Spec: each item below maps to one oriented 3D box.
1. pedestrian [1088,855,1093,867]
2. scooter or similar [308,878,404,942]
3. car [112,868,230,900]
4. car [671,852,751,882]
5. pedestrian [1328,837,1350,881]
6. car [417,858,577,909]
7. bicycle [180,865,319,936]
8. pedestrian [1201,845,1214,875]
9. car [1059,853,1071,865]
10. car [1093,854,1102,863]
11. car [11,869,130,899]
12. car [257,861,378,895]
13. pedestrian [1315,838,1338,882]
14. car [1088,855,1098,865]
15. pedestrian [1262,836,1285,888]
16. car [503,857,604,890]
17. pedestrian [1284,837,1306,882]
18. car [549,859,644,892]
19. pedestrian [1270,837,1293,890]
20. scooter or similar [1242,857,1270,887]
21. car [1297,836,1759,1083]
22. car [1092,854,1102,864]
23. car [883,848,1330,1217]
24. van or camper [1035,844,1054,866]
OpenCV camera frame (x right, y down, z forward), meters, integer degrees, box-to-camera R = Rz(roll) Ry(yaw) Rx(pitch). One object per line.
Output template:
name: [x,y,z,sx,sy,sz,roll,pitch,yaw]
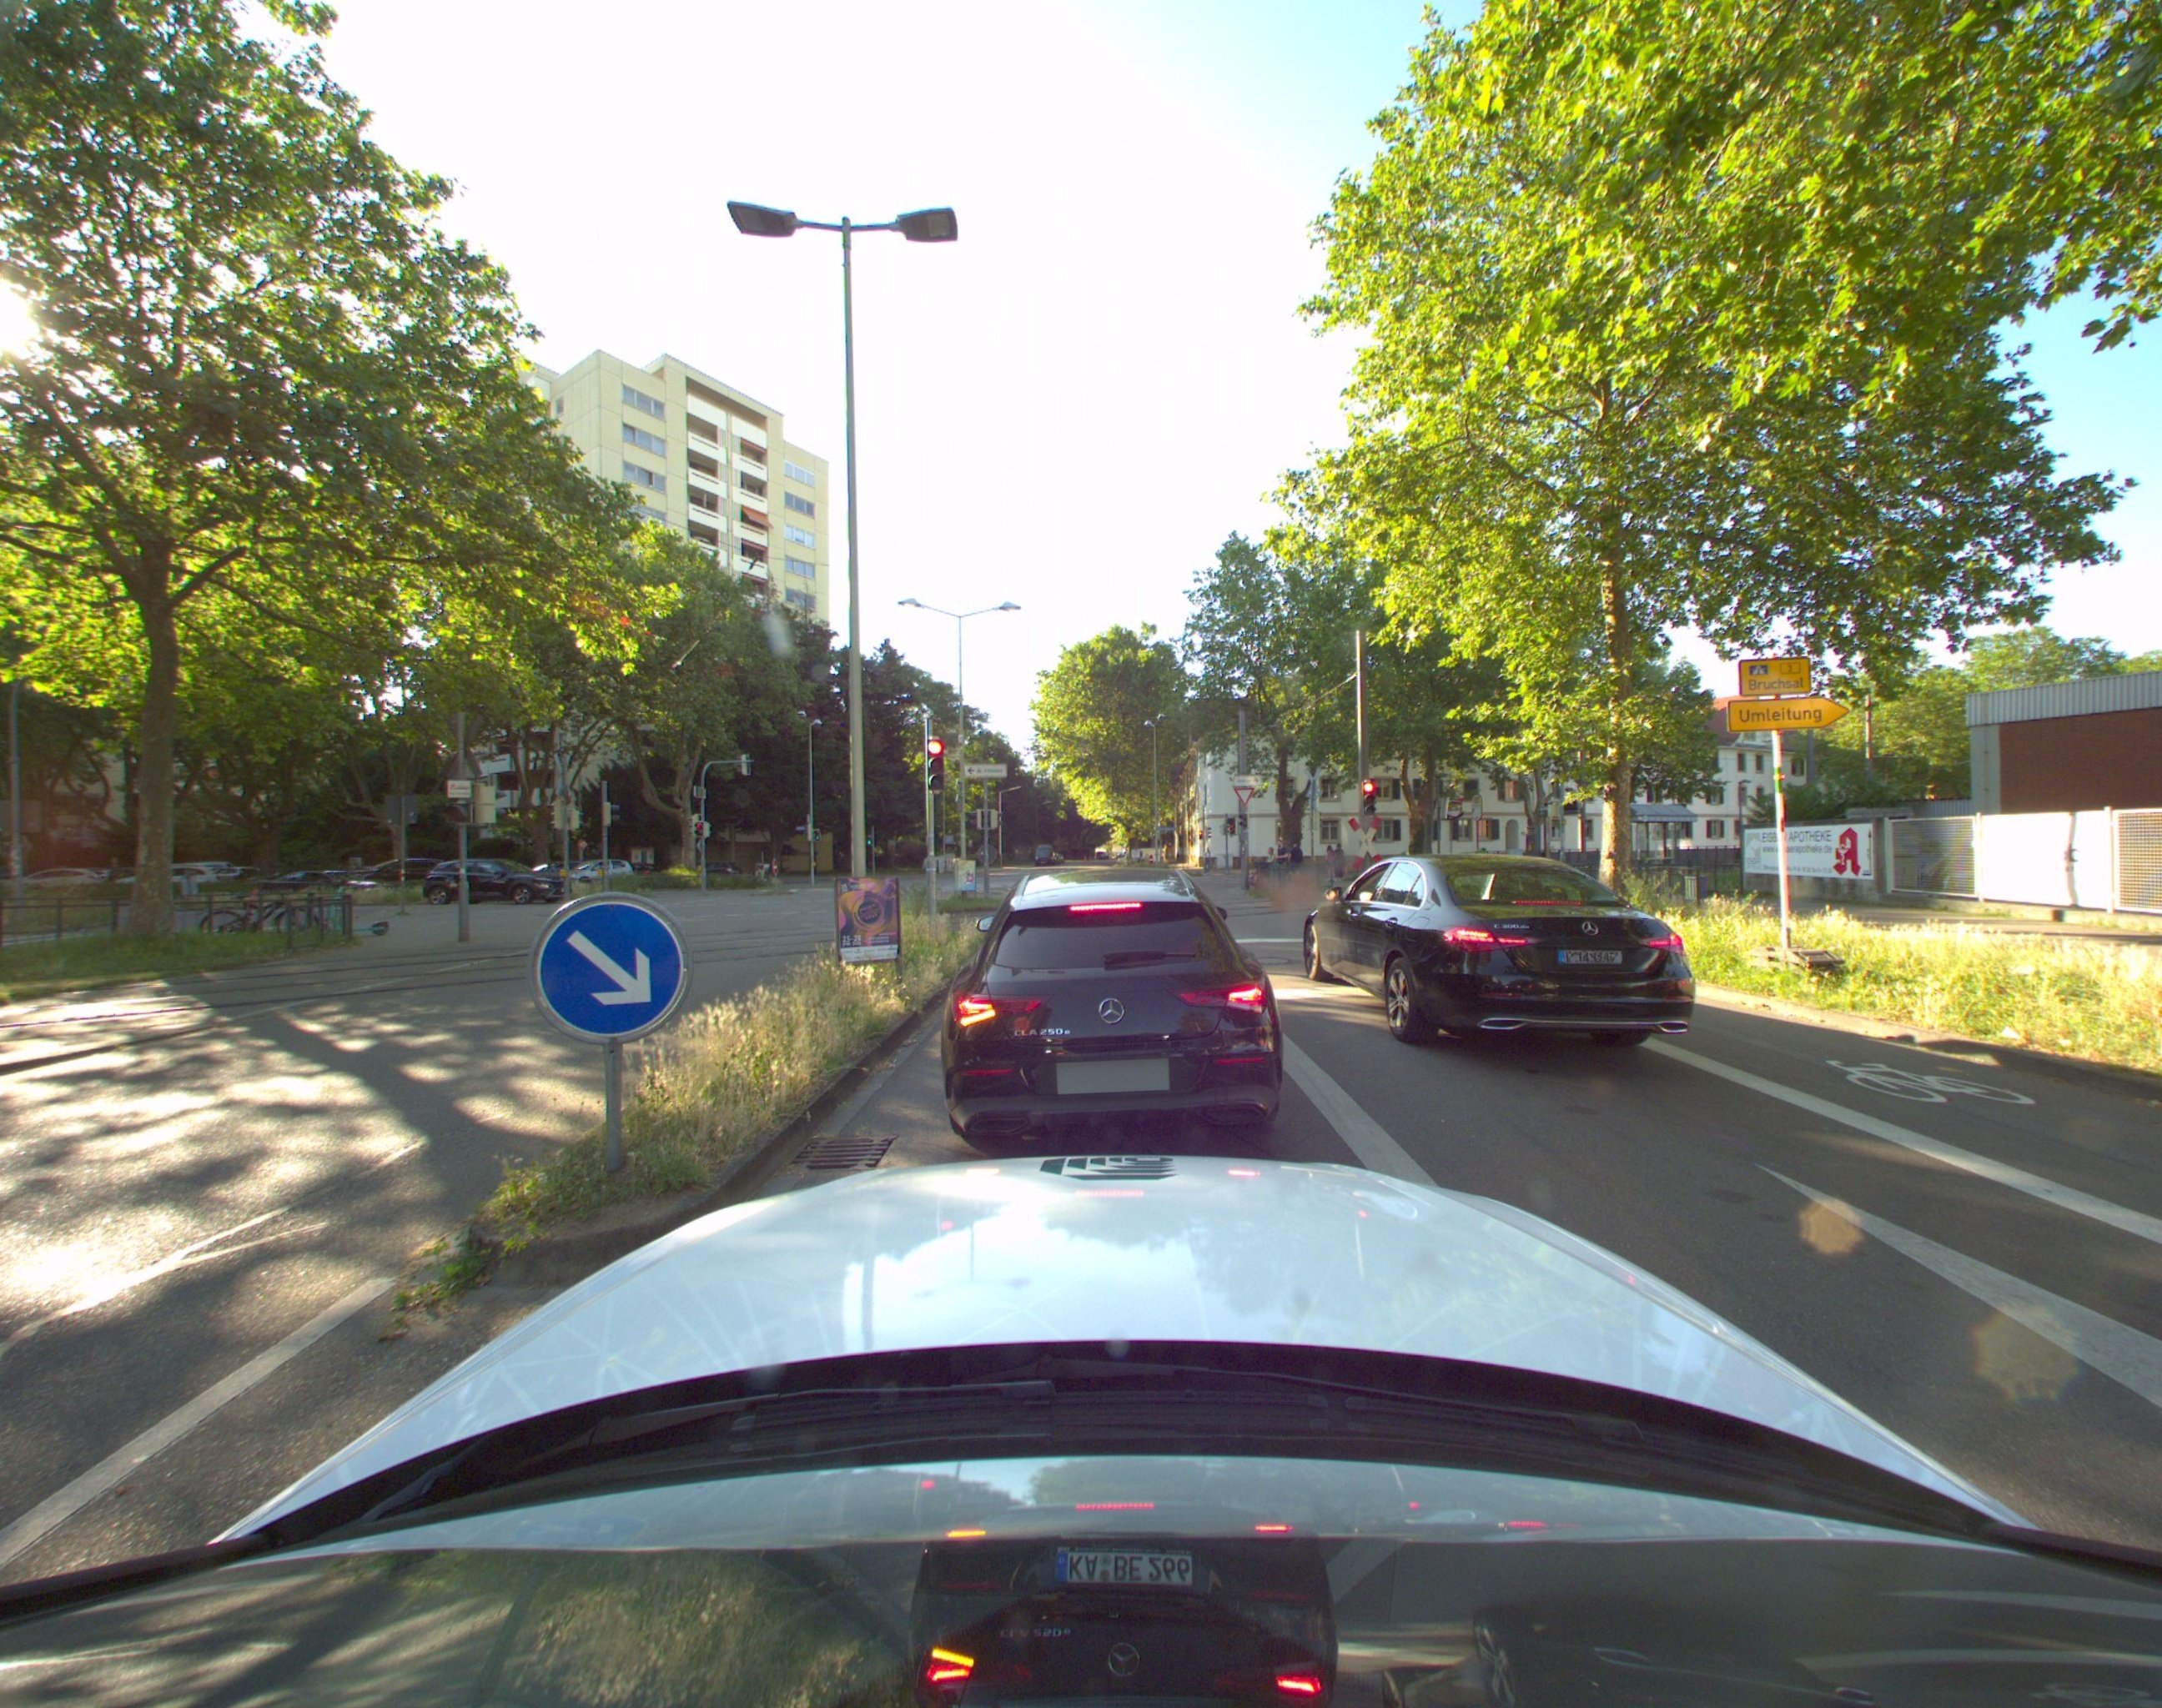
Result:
pedestrian: [1.529,1.049,130.204,0.704,1.918,0.837,0,-1,-8]
scooter or similar: [-15.096,1.140,16.985,0.408,1.239,1.450,-1,-1,40]
car: [-49.165,1.585,44.073,1.716,1.596,4.025,-1,-1,32]
car: [-22.645,0.797,49.927,3.963,1.774,2.005,-1,-1,9]
pedestrian: [11.569,0.230,36.544,0.703,1.918,0.838,0,-1,-2]
car: [-19.463,0.955,27.282,3.981,1.596,1.735,0,-1,-5]
bicycle: [-15.956,0.868,15.674,1.845,1.307,0.380,0,-1,-26]
pedestrian: [8.378,0.398,54.067,0.703,1.918,0.838,0,-1,-2]
car: [-2.480,0.825,126.680,1.727,1.765,3.972,0,-1,2]
car: [3.236,0.898,158.628,1.727,1.765,4.020,0,-1,2]
car: [-57.105,1.662,46.076,1.716,1.596,4.025,-1,-1,32]
car: [-37.419,1.143,40.001,1.716,1.596,4.025,-1,-1,32]
pedestrian: [10.718,0.259,35.563,0.703,1.918,0.838,0,-1,-2]
car: [2.095,1.005,145.740,1.727,1.765,4.020,0,-1,2]
pedestrian: [7.284,0.298,30.863,0.681,1.918,0.707,0,-1,-2]
car: [-27.224,0.973,42.164,1.716,1.596,4.025,-1,-1,32]
pedestrian: [9.276,0.250,35.250,0.703,1.918,0.838,0,-1,-2]
car: [-24.928,1.065,42.030,1.716,1.596,3.831,-1,-1,32]
pedestrian: [7.408,0.343,30.087,0.680,1.918,0.707,0,-1,0]
scooter or similar: [6.533,0.671,30.488,0.826,1.104,0.808,0,-1,-4]
car: [3.373,0.618,7.300,1.882,1.490,4.384,0,2,2]
car: [2.906,0.977,150.545,1.727,1.765,4.020,0,-1,2]
car: [0.218,0.740,5.449,1.881,1.450,4.004,0,2,3]
van or camper: [-4.425,0.127,100.054,1.986,2.541,4.653,0,-1,2]
